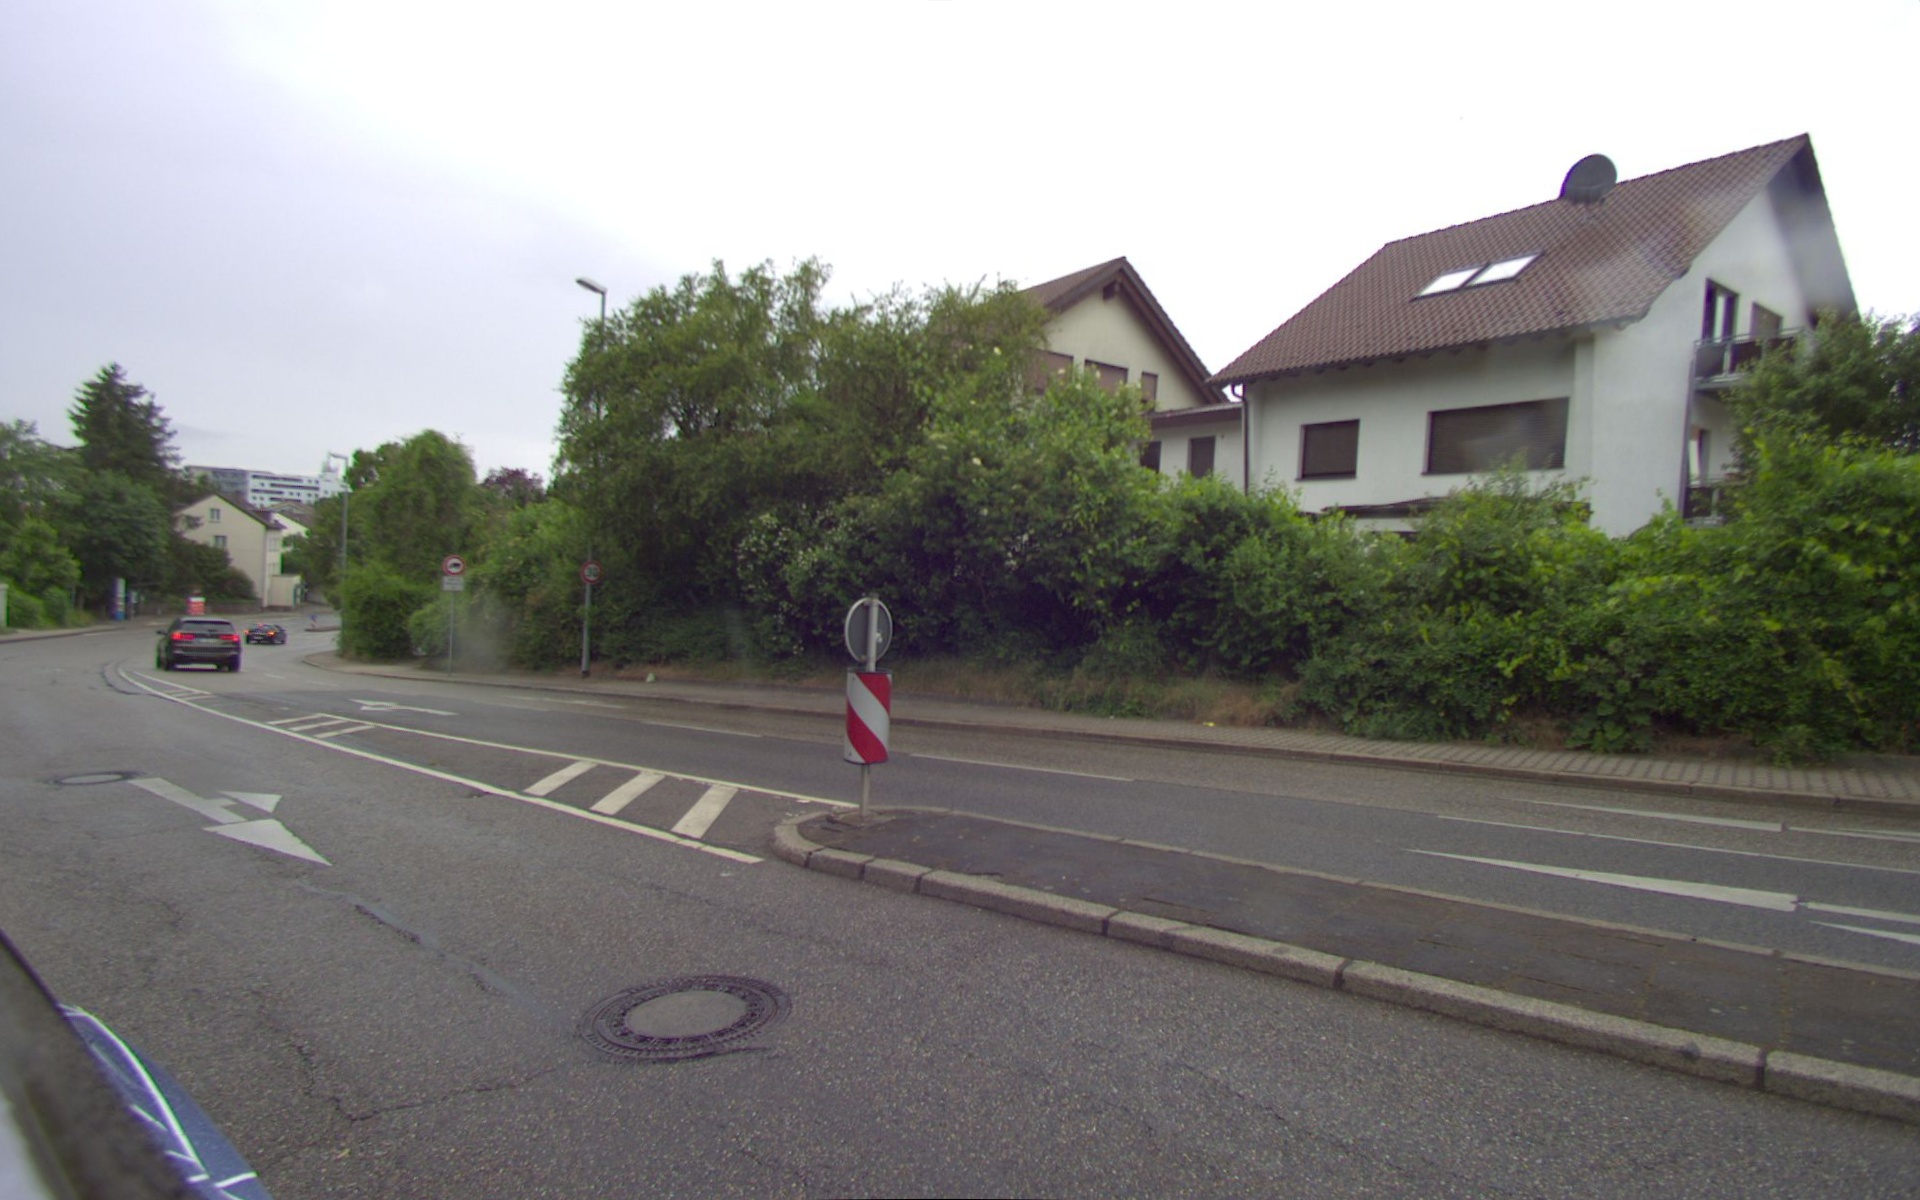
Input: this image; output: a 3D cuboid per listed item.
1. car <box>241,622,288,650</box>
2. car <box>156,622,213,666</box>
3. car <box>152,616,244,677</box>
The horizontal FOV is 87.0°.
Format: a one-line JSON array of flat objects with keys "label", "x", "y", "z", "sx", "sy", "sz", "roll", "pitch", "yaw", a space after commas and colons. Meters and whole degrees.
[{"label": "car", "x": -48.206, "y": 2.493, "z": 70.205, "sx": 1.965, "sy": 1.929, "sz": 4.013, "roll": 1, "pitch": -2, "yaw": -25}, {"label": "car", "x": -37.885, "y": 2.126, "z": 49.464, "sx": 2.099, "sy": 2.029, "sz": 4.094, "roll": 2, "pitch": -3, "yaw": -38}, {"label": "car", "x": -25.320, "y": 1.531, "z": 33.588, "sx": 1.932, "sy": 1.860, "sz": 4.004, "roll": 5, "pitch": -4, "yaw": -43}]
